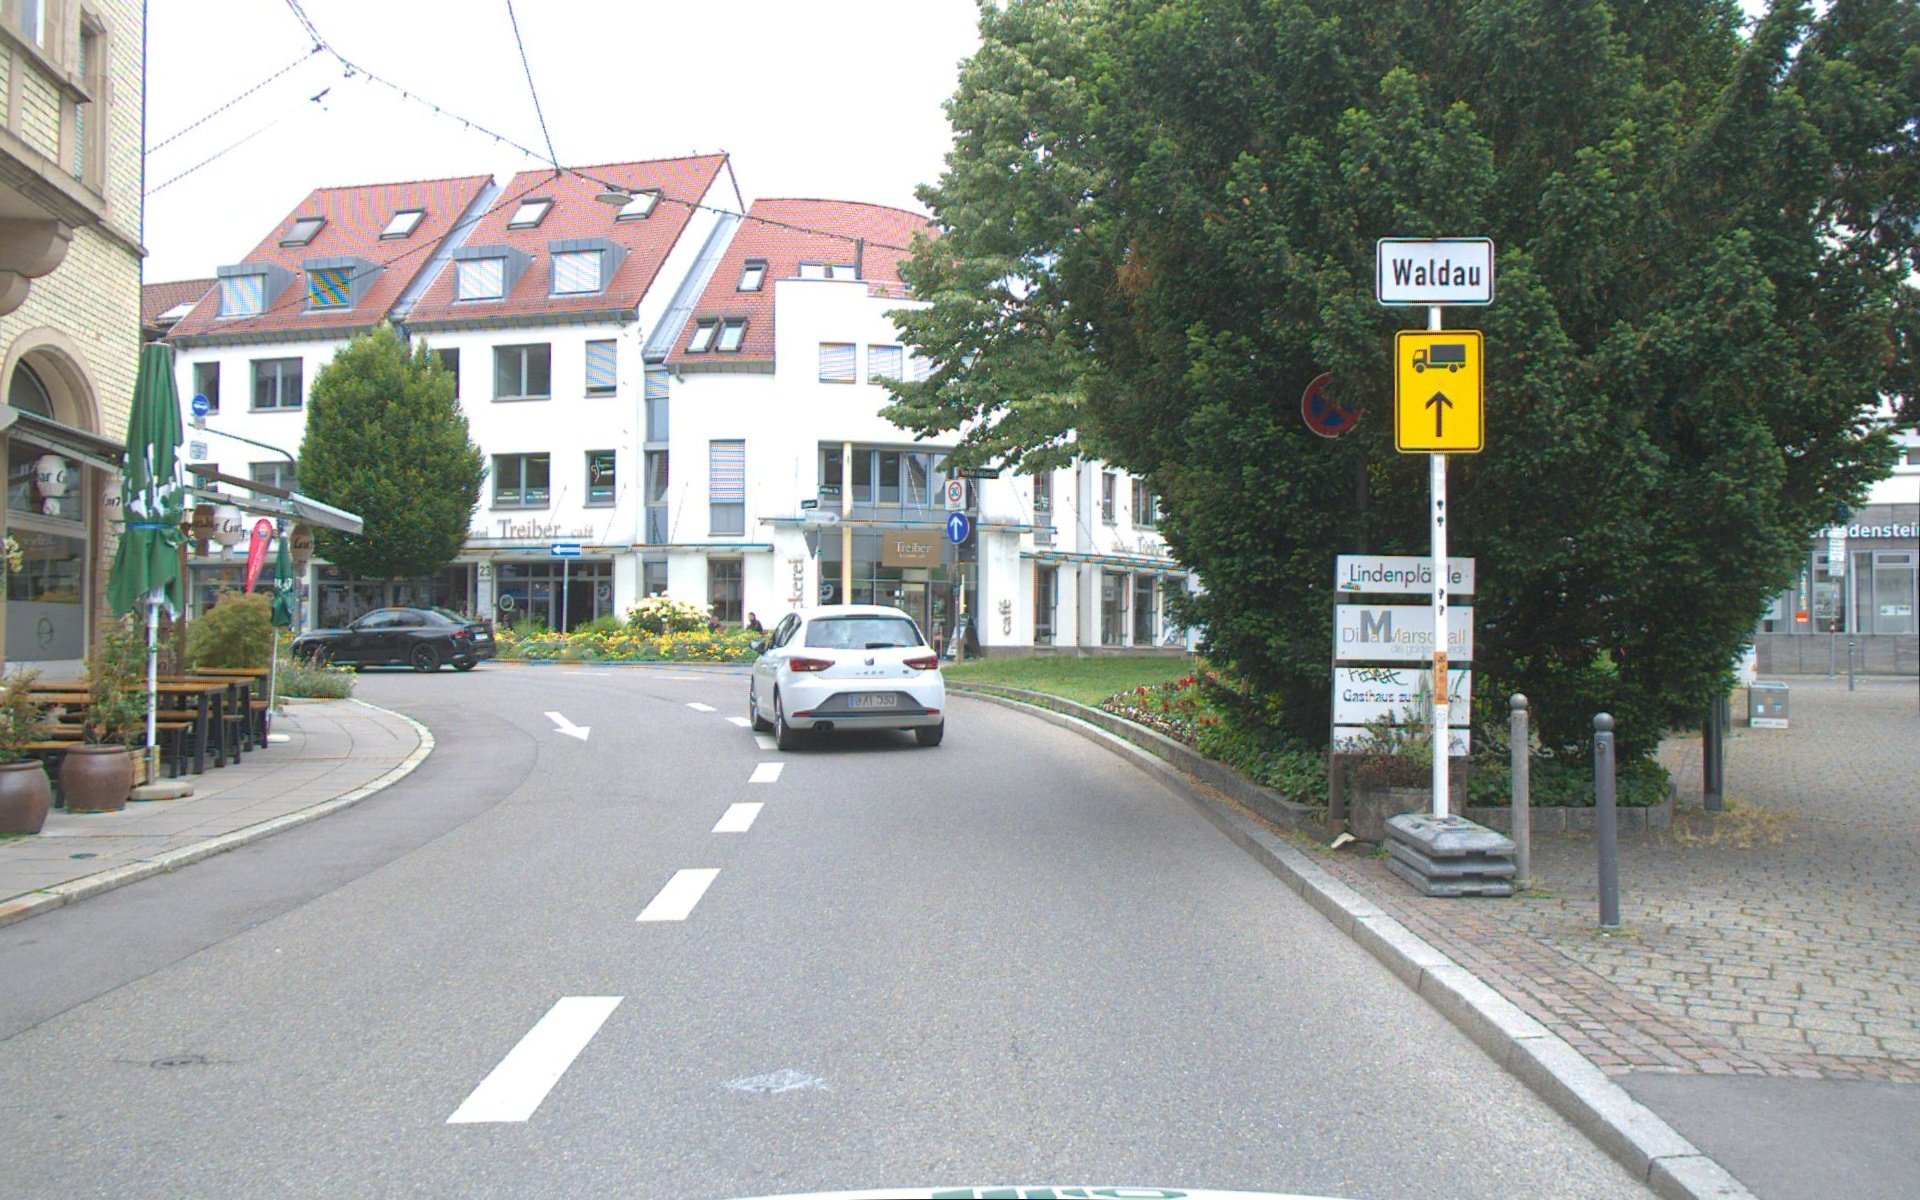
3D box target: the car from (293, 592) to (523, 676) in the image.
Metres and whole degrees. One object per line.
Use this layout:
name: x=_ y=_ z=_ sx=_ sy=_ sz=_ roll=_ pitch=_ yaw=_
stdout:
car: x=-12.003 y=0.725 z=36.093 sx=4.266 sy=1.704 sz=2.043 roll=1 pitch=0 yaw=10

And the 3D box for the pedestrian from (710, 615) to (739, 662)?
pedestrian: x=-6.807 y=1.101 z=47.801 sx=0.686 sy=1.355 sz=0.685 roll=0 pitch=-1 yaw=4

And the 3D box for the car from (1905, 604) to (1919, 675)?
car: x=23.380 y=0.925 z=36.115 sx=4.276 sy=1.574 sz=2.126 roll=1 pitch=0 yaw=11

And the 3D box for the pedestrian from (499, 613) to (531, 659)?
pedestrian: x=-13.312 y=1.085 z=49.476 sx=0.554 sy=1.341 sz=0.765 roll=0 pitch=-3 yaw=17

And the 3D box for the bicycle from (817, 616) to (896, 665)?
bicycle: x=-2.735 y=1.062 z=43.753 sx=1.932 sy=1.261 sz=0.744 roll=0 pitch=-1 yaw=16

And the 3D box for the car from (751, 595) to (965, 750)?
car: x=-1.230 y=0.702 z=18.140 sx=1.811 sy=1.459 sz=3.989 roll=0 pitch=1 yaw=-11

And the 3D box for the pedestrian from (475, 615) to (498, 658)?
pedestrian: x=-14.280 y=1.101 z=49.872 sx=0.480 sy=1.293 sz=0.502 roll=0 pitch=-1 yaw=17

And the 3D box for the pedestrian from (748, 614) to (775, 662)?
pedestrian: x=-5.724 y=1.085 z=47.637 sx=0.641 sy=1.365 sz=0.696 roll=0 pitch=-1 yaw=4
